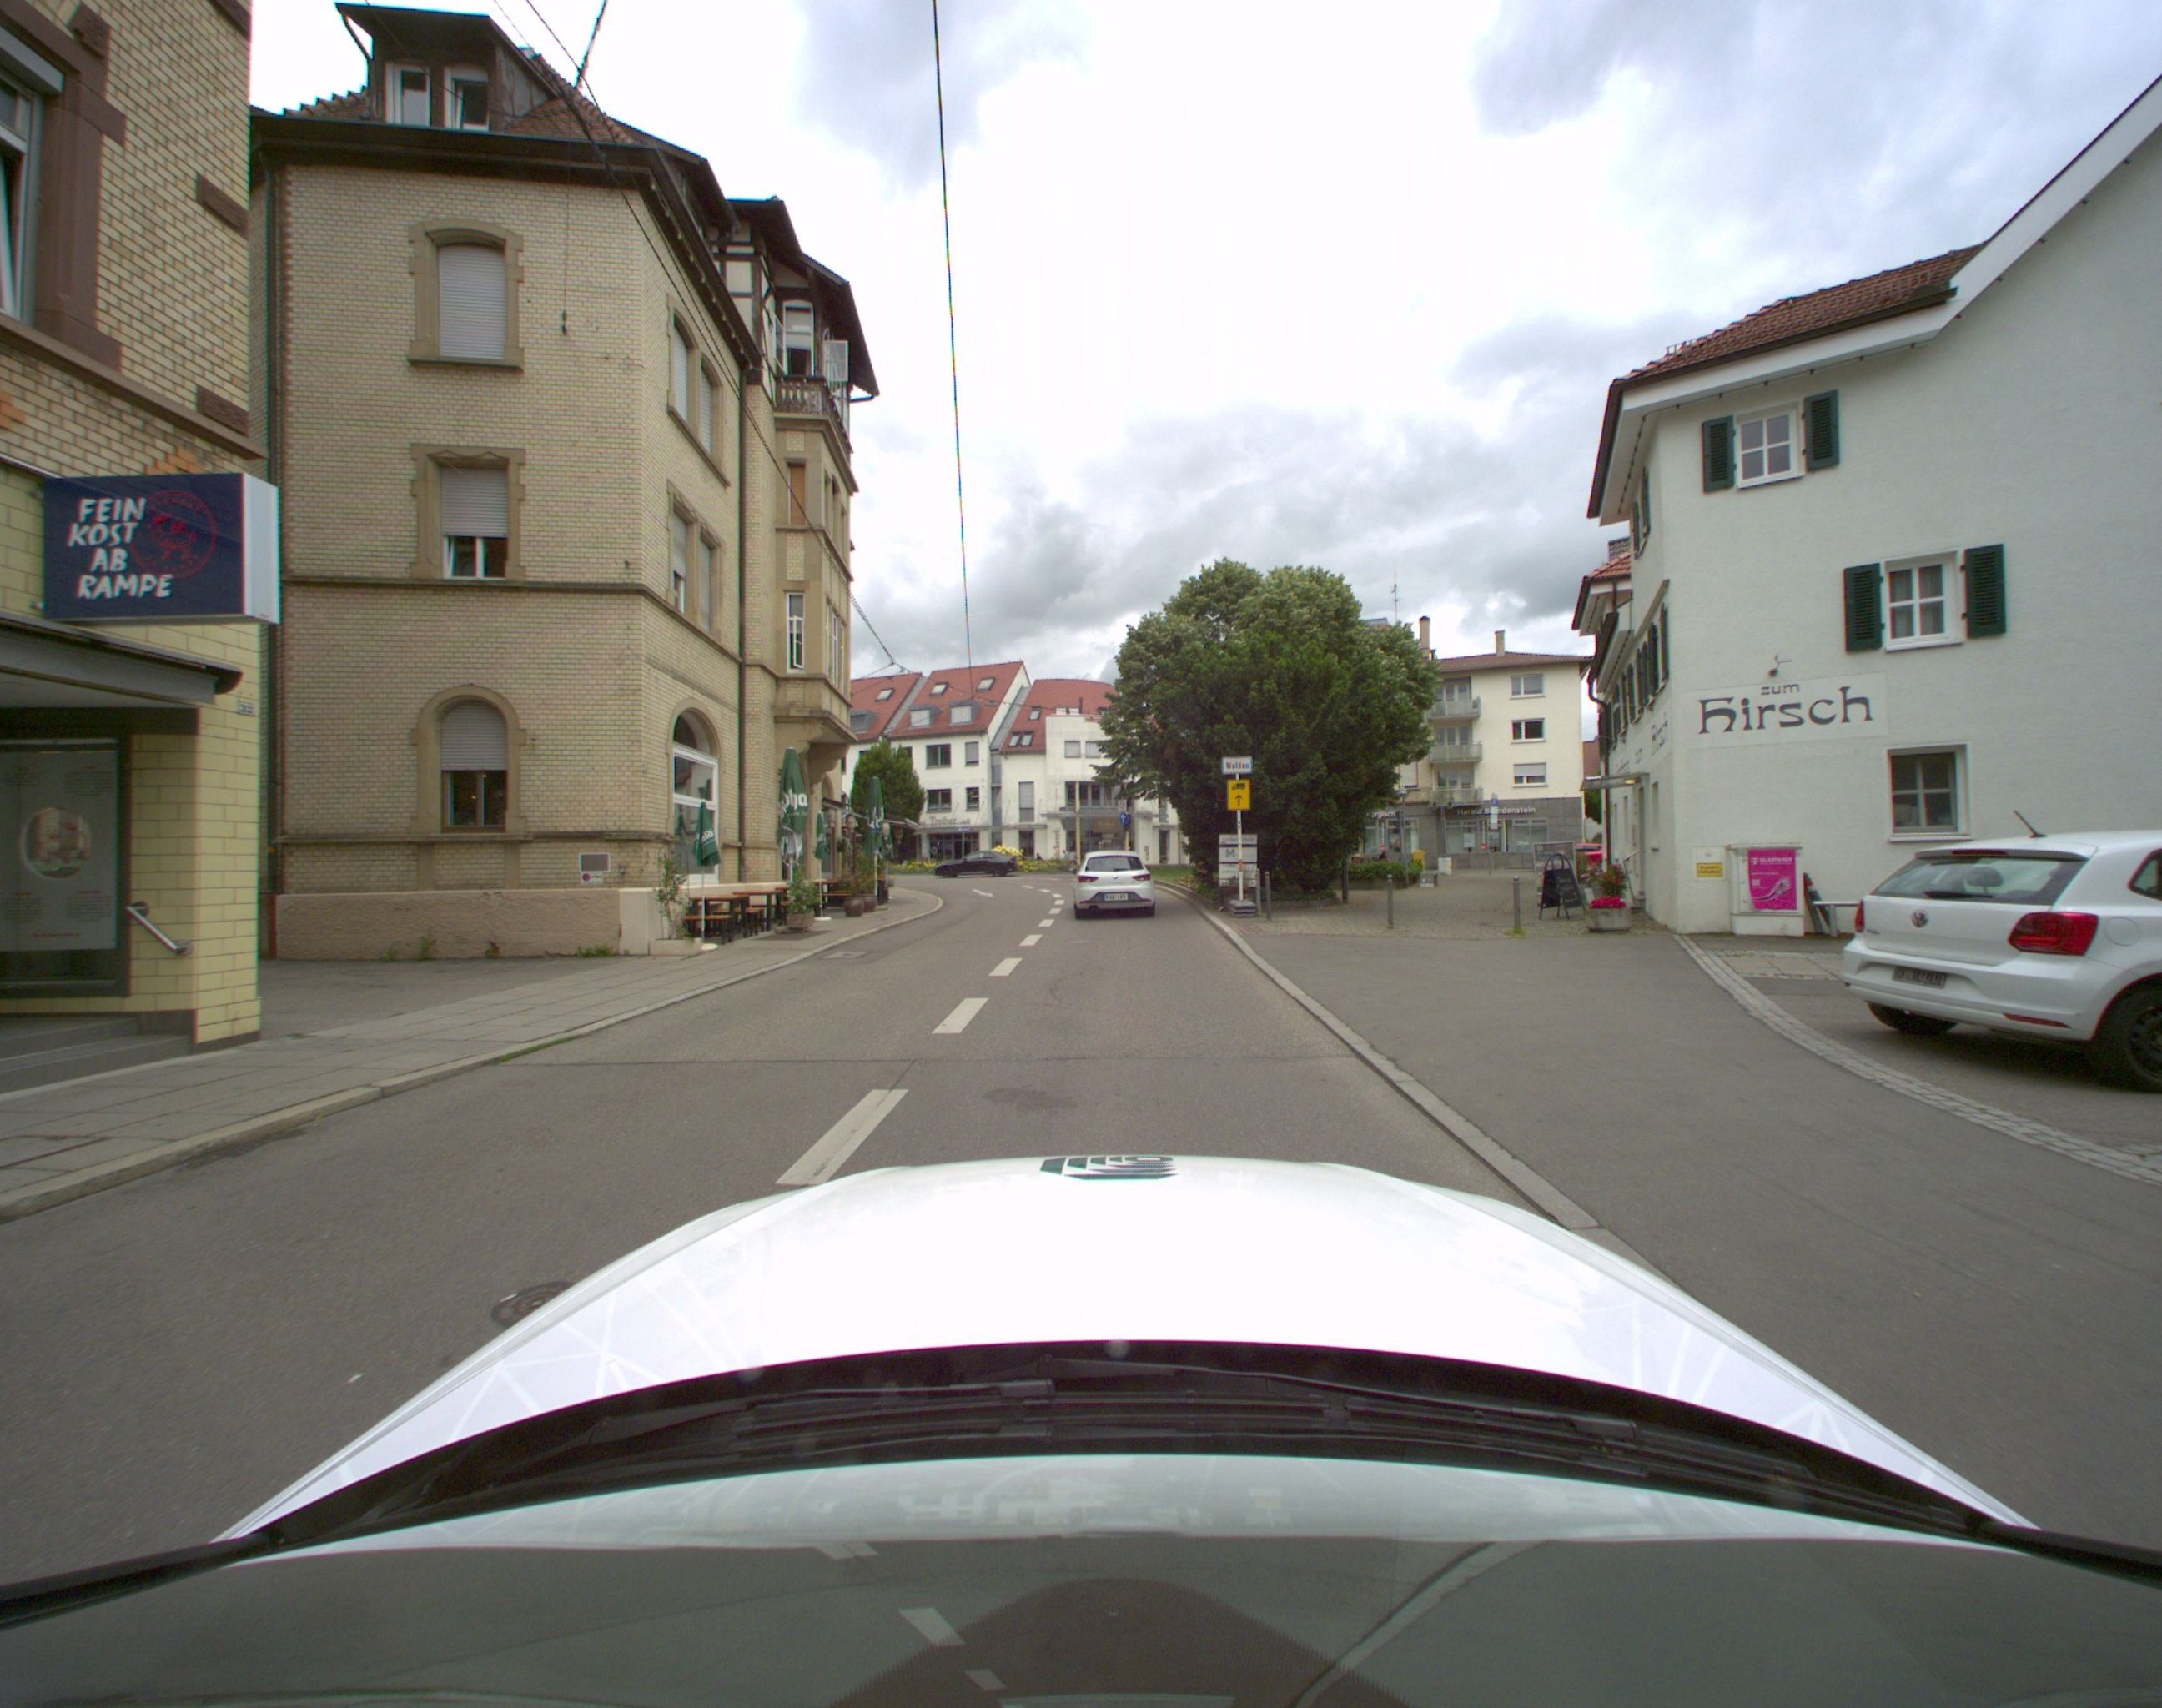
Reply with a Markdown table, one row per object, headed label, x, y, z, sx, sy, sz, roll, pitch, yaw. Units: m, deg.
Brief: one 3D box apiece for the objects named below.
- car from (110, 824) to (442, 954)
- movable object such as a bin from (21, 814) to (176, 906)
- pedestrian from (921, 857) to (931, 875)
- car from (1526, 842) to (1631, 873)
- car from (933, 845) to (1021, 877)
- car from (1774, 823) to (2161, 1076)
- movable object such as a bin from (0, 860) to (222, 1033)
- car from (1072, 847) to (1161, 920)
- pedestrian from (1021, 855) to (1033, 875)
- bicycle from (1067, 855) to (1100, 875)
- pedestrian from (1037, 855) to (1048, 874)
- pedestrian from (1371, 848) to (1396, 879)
| label | x | y | z | sx | sy | sz | roll | pitch | yaw |
| --- | --- | --- | --- | --- | --- | --- | --- | --- | --- |
| car | -14.177 | 0.552 | 14.761 | 1.987 | 2.013 | 3.999 | 1 | 0 | -1 |
| movable object such as a bin | -17.127 | 0.072 | 14.209 | 1.781 | 1.502 | 1.302 | 1 | 2 | 25 |
| pedestrian | -11.183 | 0.869 | 58.780 | 0.486 | 1.271 | 0.504 | -1 | 0 | 20 |
| car | 26.201 | 0.156 | 43.053 | 4.337 | 1.547 | 2.133 | 0 | 0 | 15 |
| car | -5.558 | 0.370 | 43.944 | 4.340 | 1.675 | 2.044 | 0 | 0 | 4 |
| car | 7.342 | 0.510 | 5.390 | 3.772 | 1.418 | 1.901 | -1 | 0 | 7 |
| movable object such as a bin | -8.427 | 0.776 | 7.069 | 0.938 | 1.379 | 0.823 | 1 | -4 | 1 |
| car | 0.718 | 0.592 | 18.851 | 1.838 | 1.434 | 3.999 | -1 | 1 | -1 |
| pedestrian | -3.729 | 0.756 | 56.292 | 0.696 | 1.332 | 0.686 | -1 | 0 | 7 |
| bicycle | 0.148 | 0.682 | 52.020 | 1.957 | 1.240 | 0.748 | -1 | 0 | 19 |
| pedestrian | -2.640 | 0.723 | 56.068 | 0.651 | 1.341 | 0.697 | -1 | 0 | 7 |
| pedestrian | 13.816 | 0.444 | 37.202 | 0.850 | 1.380 | 0.977 | 0 | -1 | 7 |
